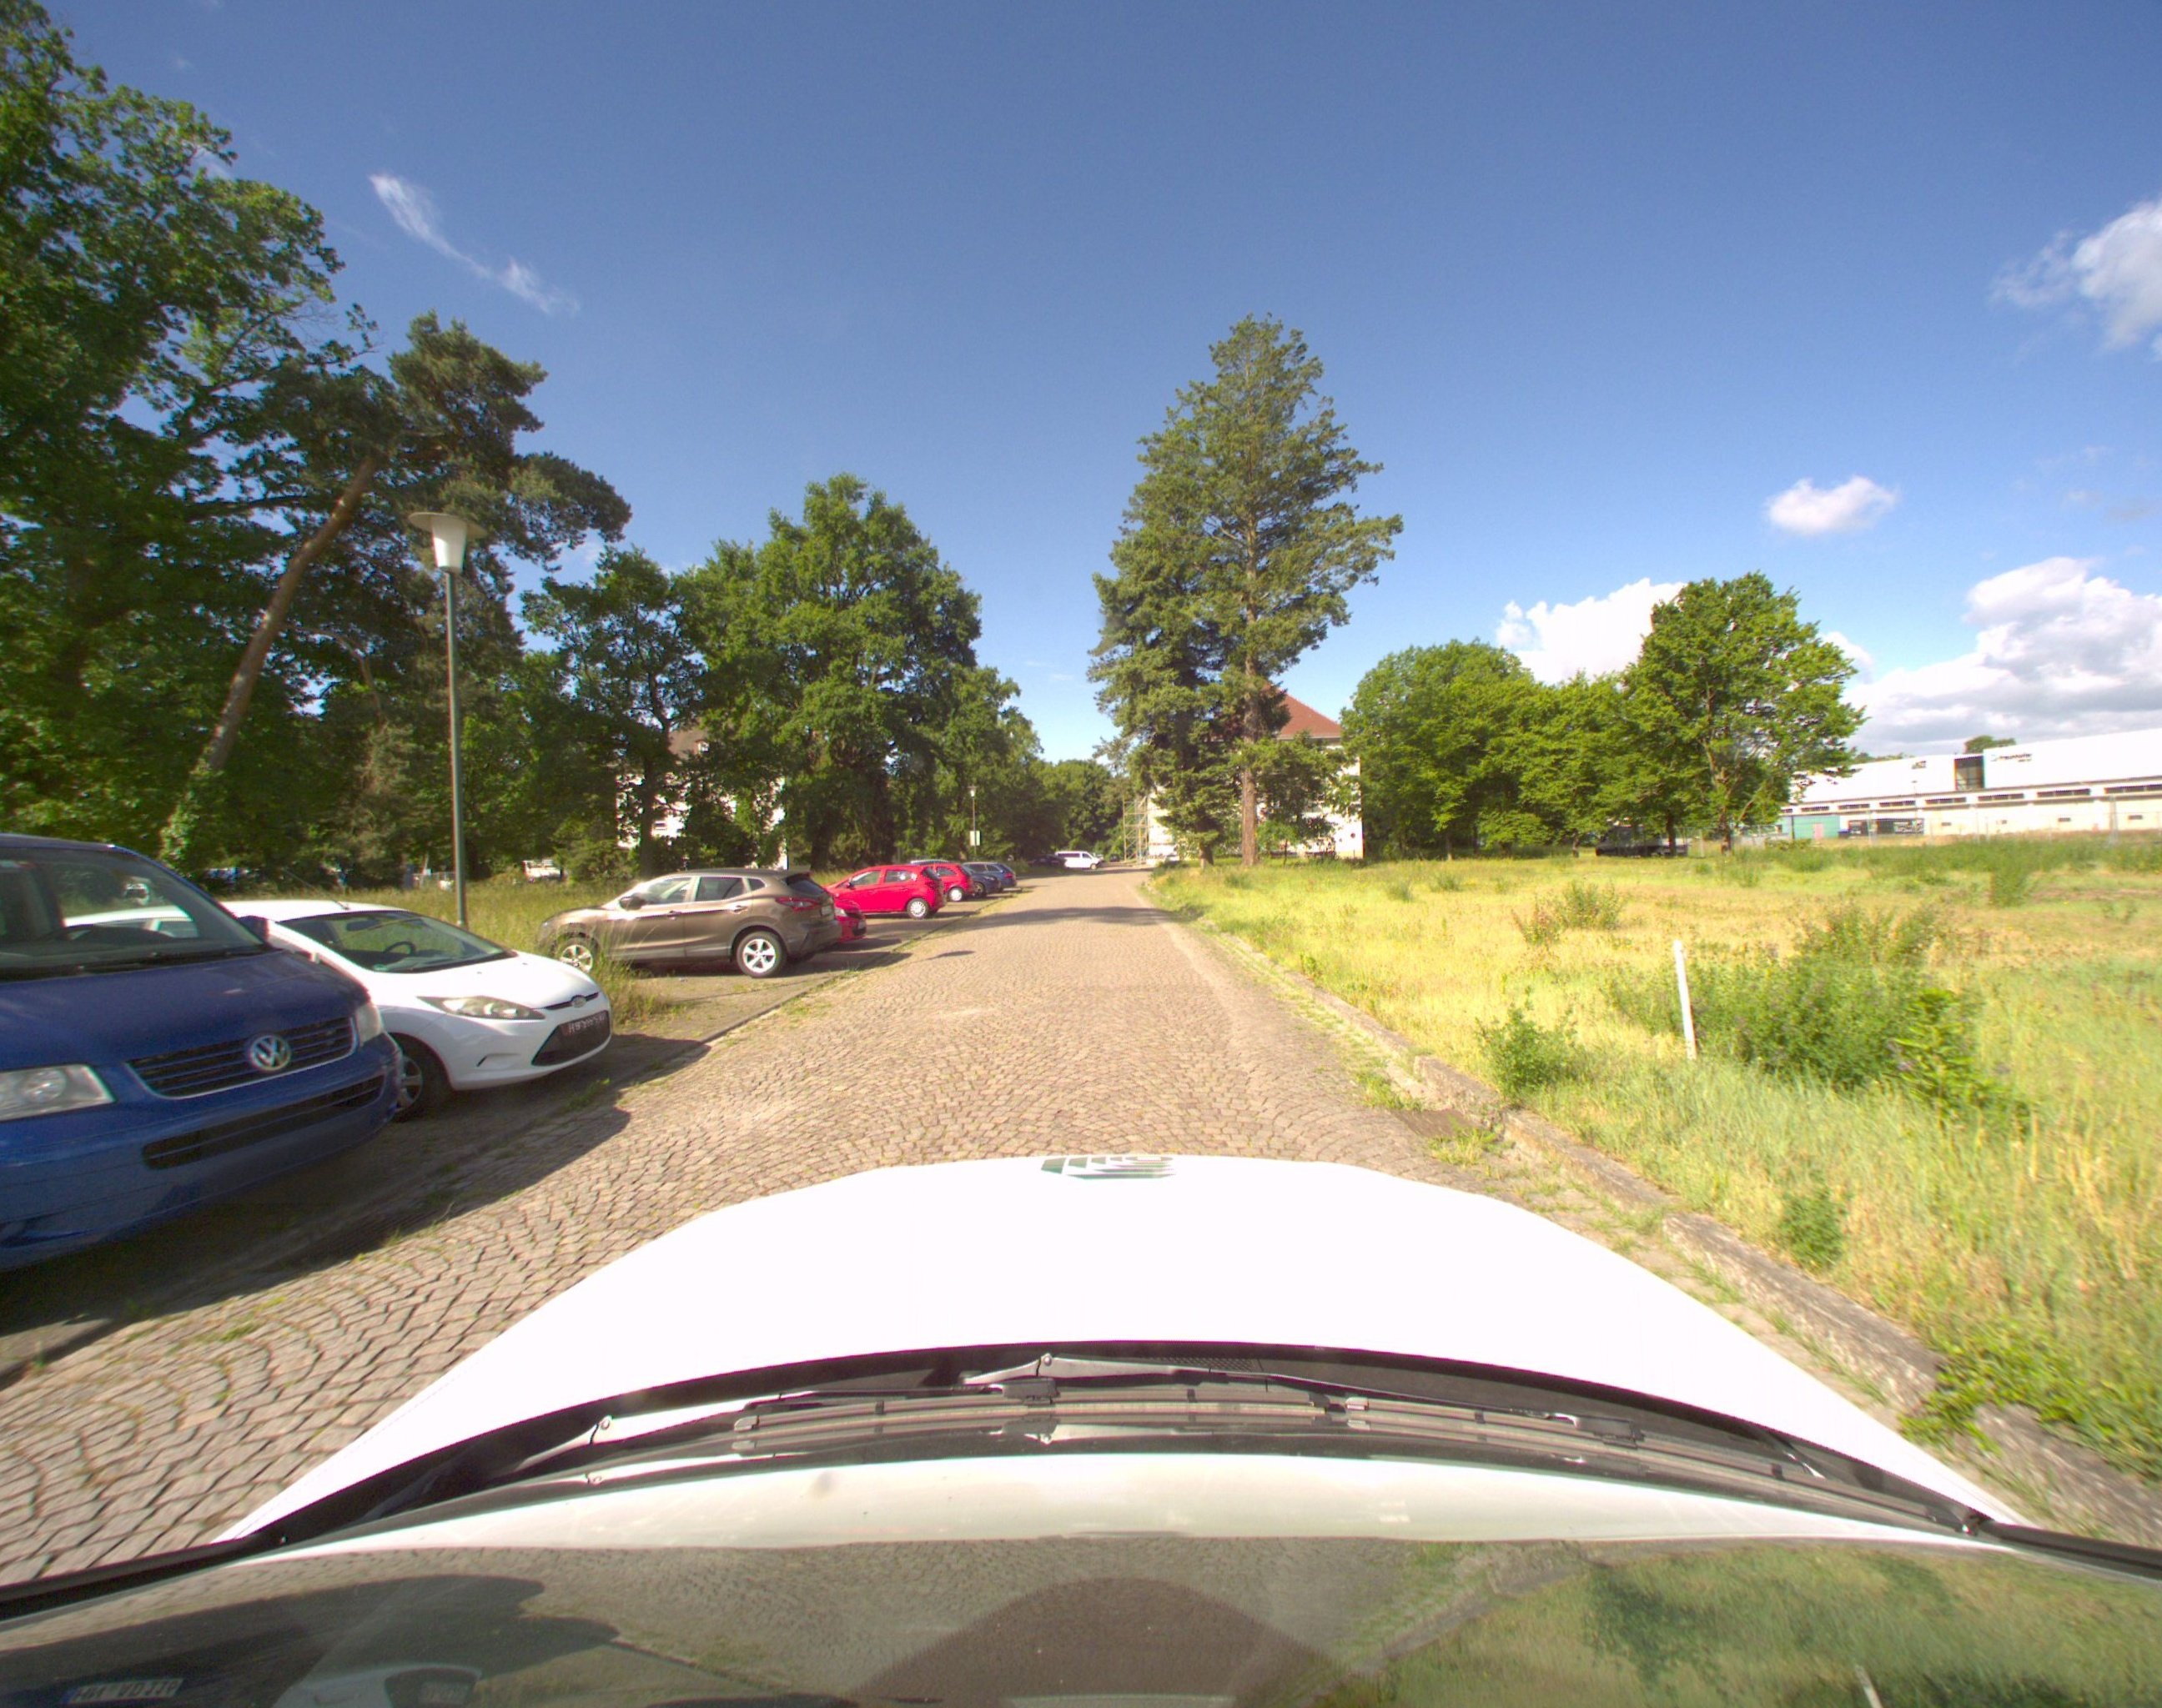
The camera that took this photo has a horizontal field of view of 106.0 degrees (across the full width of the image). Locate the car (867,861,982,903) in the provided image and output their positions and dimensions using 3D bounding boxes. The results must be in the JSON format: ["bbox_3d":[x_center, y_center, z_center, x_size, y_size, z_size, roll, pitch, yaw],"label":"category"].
[{"bbox_3d":[-5.861,1.051,30.875,3.908,1.433,1.843,-1,0,2],"label":"car"}]

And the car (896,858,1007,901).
[{"bbox_3d":[-5.228,1.015,33.267,4.120,1.579,1.885,-1,0,1],"label":"car"}]

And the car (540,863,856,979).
[{"bbox_3d":[-5.752,0.970,12.658,3.941,1.567,1.973,0,1,-1],"label":"car"}]

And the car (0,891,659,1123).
[{"bbox_3d":[-5.641,1.057,6.322,3.806,1.440,1.682,0,0,-2],"label":"car"}]

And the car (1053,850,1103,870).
[{"bbox_3d":[-0.307,0.651,86.798,5.217,2.016,1.950,-2,0,0],"label":"car"}]

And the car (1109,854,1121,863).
[{"bbox_3d":[6.363,0.806,153.059,1.964,1.668,4.086,-2,0,1],"label":"car"}]

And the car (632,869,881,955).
[{"bbox_3d":[-5.984,1.044,15.392,3.911,1.449,1.866,0,0,-1],"label":"car"}]

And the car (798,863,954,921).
[{"bbox_3d":[-5.691,1.037,22.986,3.911,1.461,1.841,-1,0,-1],"label":"car"}]

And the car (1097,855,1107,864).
[{"bbox_3d":[3.964,0.955,152.780,1.806,1.579,4.135,-2,0,1],"label":"car"}]

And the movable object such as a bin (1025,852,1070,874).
[{"bbox_3d":[-3.035,0.819,73.723,3.536,1.744,2.035,-3,0,19],"label":"movable object such as a bin"}]

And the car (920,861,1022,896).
[{"bbox_3d":[-5.072,1.131,37.949,4.340,1.445,1.923,-1,0,3],"label":"car"}]

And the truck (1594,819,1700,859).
[{"bbox_3d":[36.980,-0.889,53.508,2.225,2.424,6.886,-1,0,0],"label":"truck"}]

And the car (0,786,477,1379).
[{"bbox_3d":[-5.874,0.781,3.726,4.701,1.968,2.006,0,0,0],"label":"car"}]
